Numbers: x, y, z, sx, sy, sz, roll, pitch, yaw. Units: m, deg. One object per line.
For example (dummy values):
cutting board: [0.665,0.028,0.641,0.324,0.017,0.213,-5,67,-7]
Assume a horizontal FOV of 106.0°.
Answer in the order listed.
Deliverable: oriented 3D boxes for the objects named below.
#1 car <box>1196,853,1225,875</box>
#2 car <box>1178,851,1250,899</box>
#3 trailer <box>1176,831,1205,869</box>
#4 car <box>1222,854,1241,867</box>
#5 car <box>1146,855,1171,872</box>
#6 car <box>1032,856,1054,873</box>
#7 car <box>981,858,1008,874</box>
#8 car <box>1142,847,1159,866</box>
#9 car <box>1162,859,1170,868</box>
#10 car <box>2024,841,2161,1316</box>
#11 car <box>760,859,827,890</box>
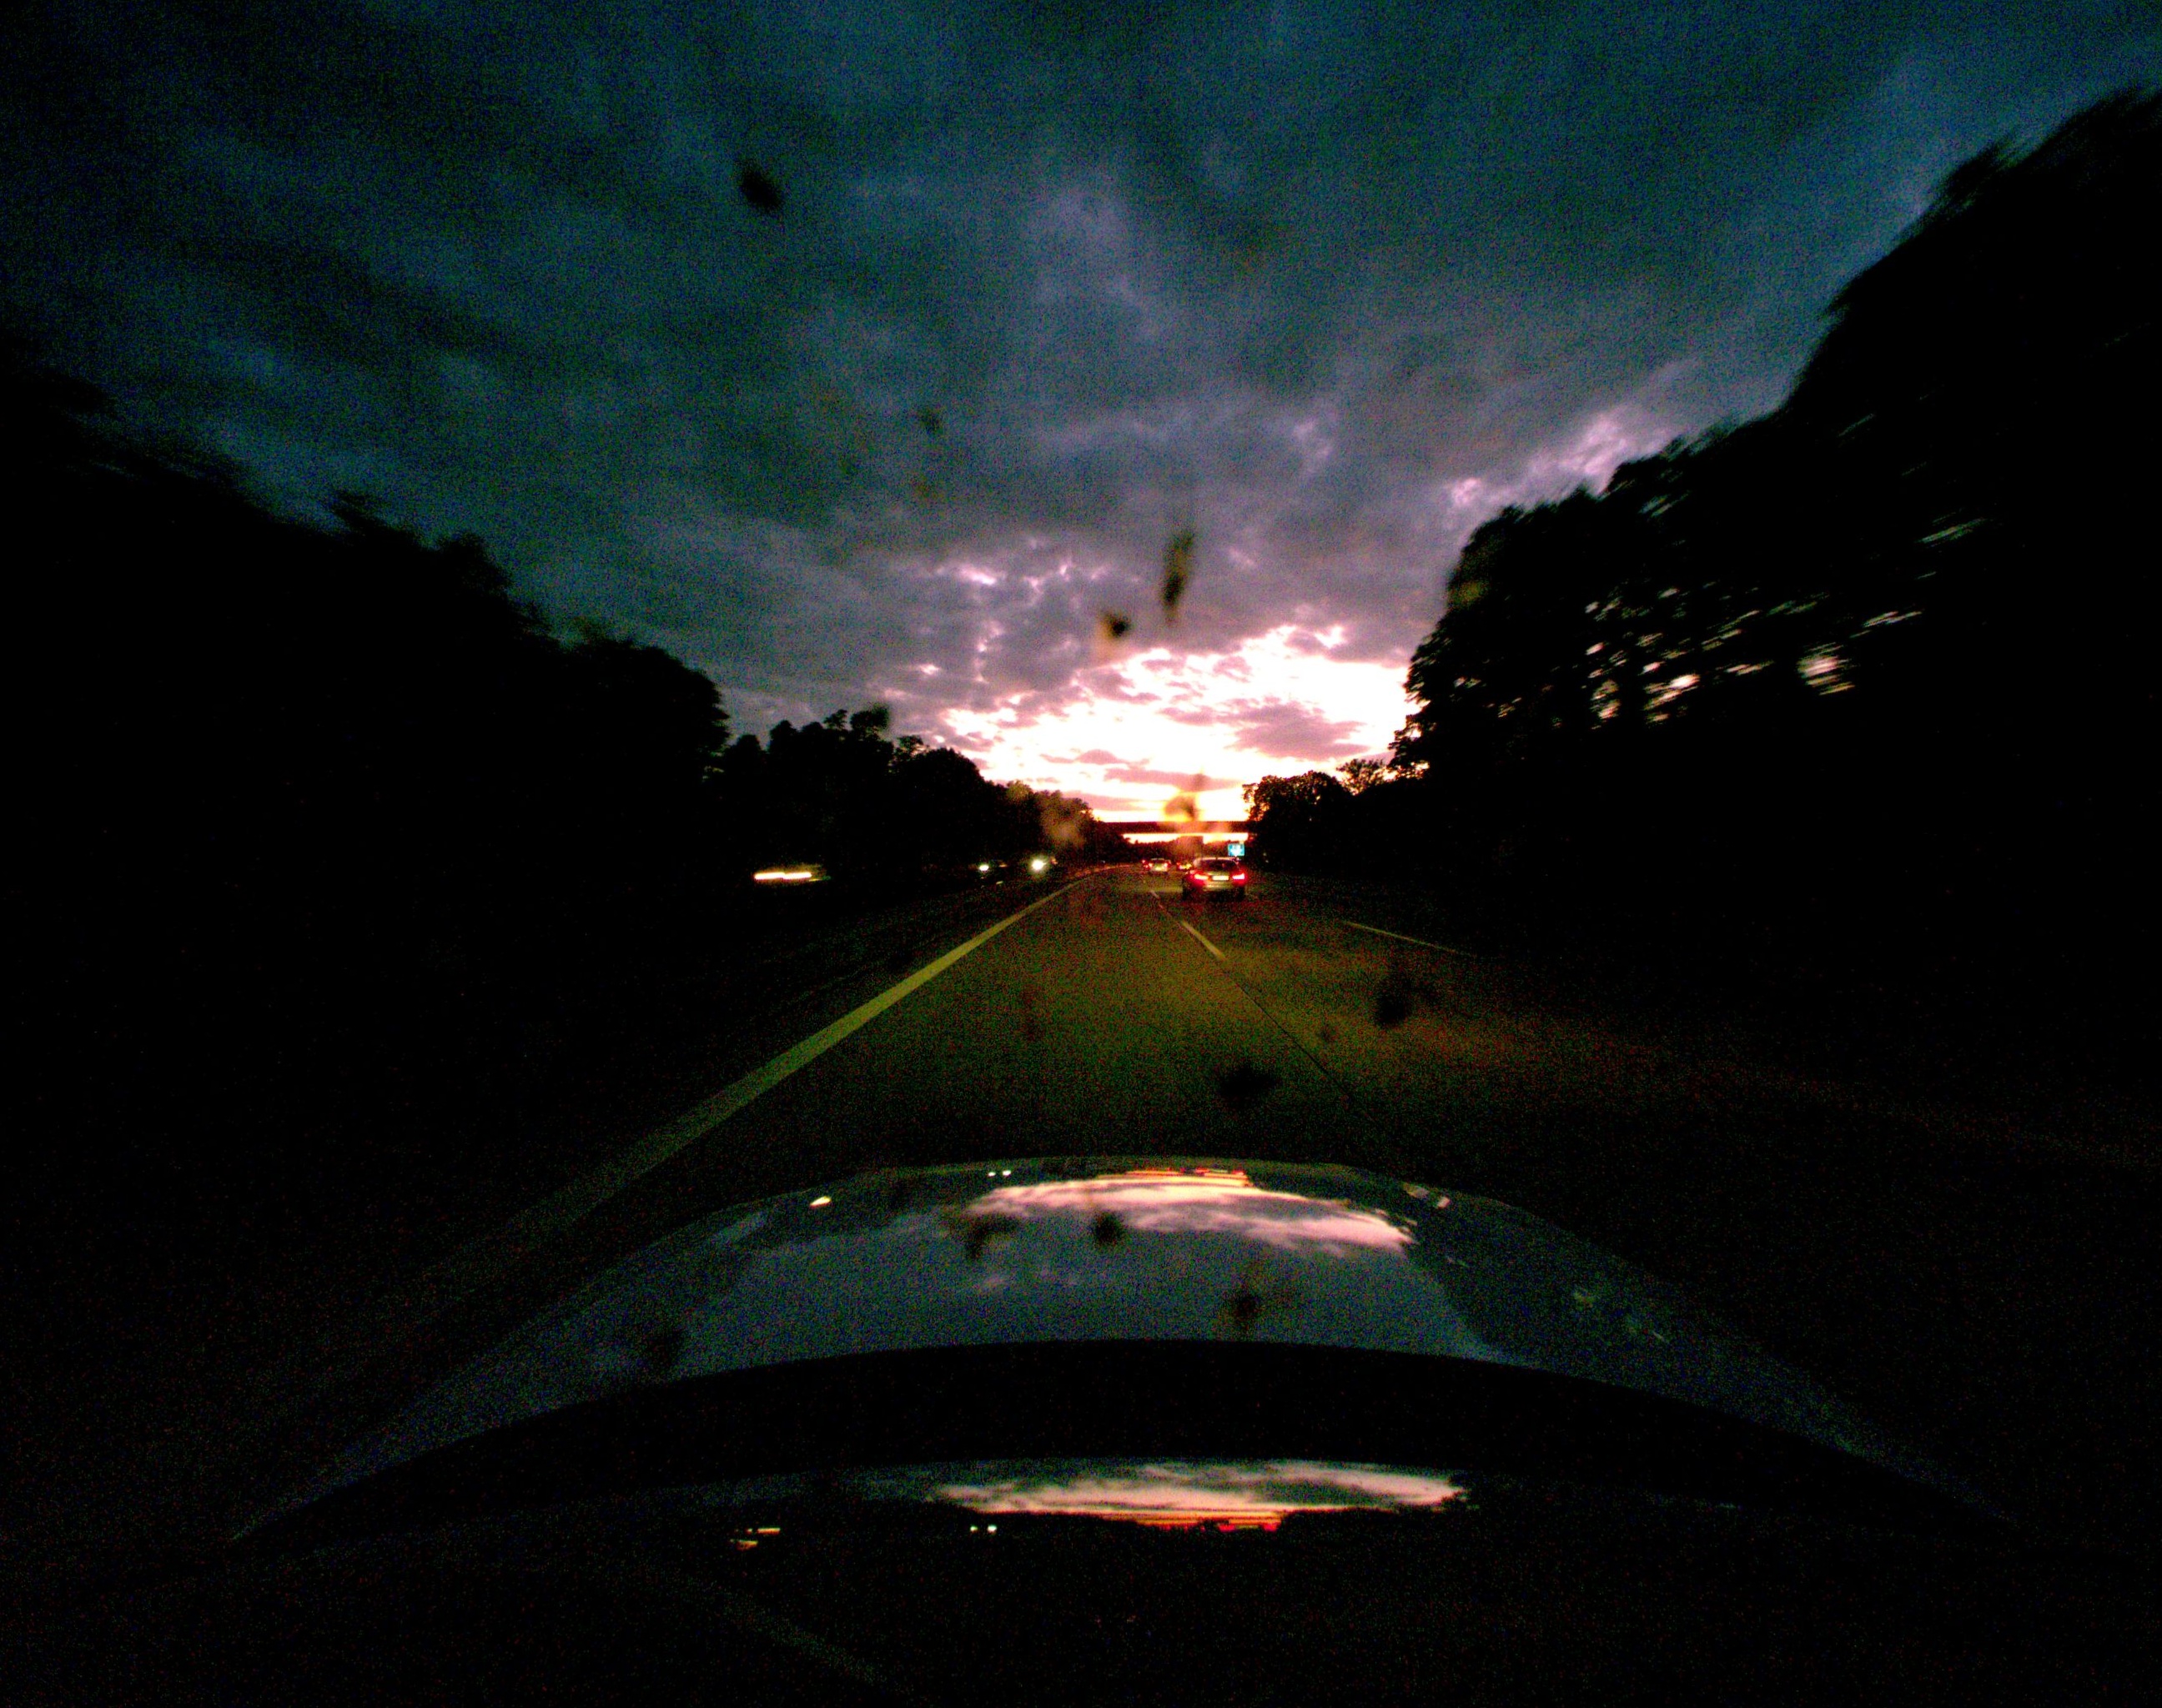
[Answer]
car: [10.161,0.763,64.278,1.894,1.643,5.058,-1,-1,5]
car: [4.722,0.688,29.544,1.902,1.537,5.233,-1,0,2]
trailer: [12.767,-0.390,95.391,2.893,4.101,10.370,0,-2,5]
car: [17.691,0.824,95.861,1.849,1.442,4.118,-1,-1,6]
car: [7.039,0.825,74.180,1.853,1.442,3.720,-1,0,0]
car: [-4.191,1.176,90.915,1.985,1.797,4.834,-1,0,2]
car: [-8.393,1.193,79.481,1.867,1.443,4.454,-1,0,3]
car: [9.290,0.403,108.972,2.156,2.419,5.569,-1,-2,4]
car: [22.610,2.535,216.547,2.156,2.419,5.570,-1,-2,5]
car: [4.170,0.712,0.308,1.802,1.466,5.134,-1,1,2]
car: [-13.963,0.974,39.736,1.835,1.455,3.605,0,0,3]
